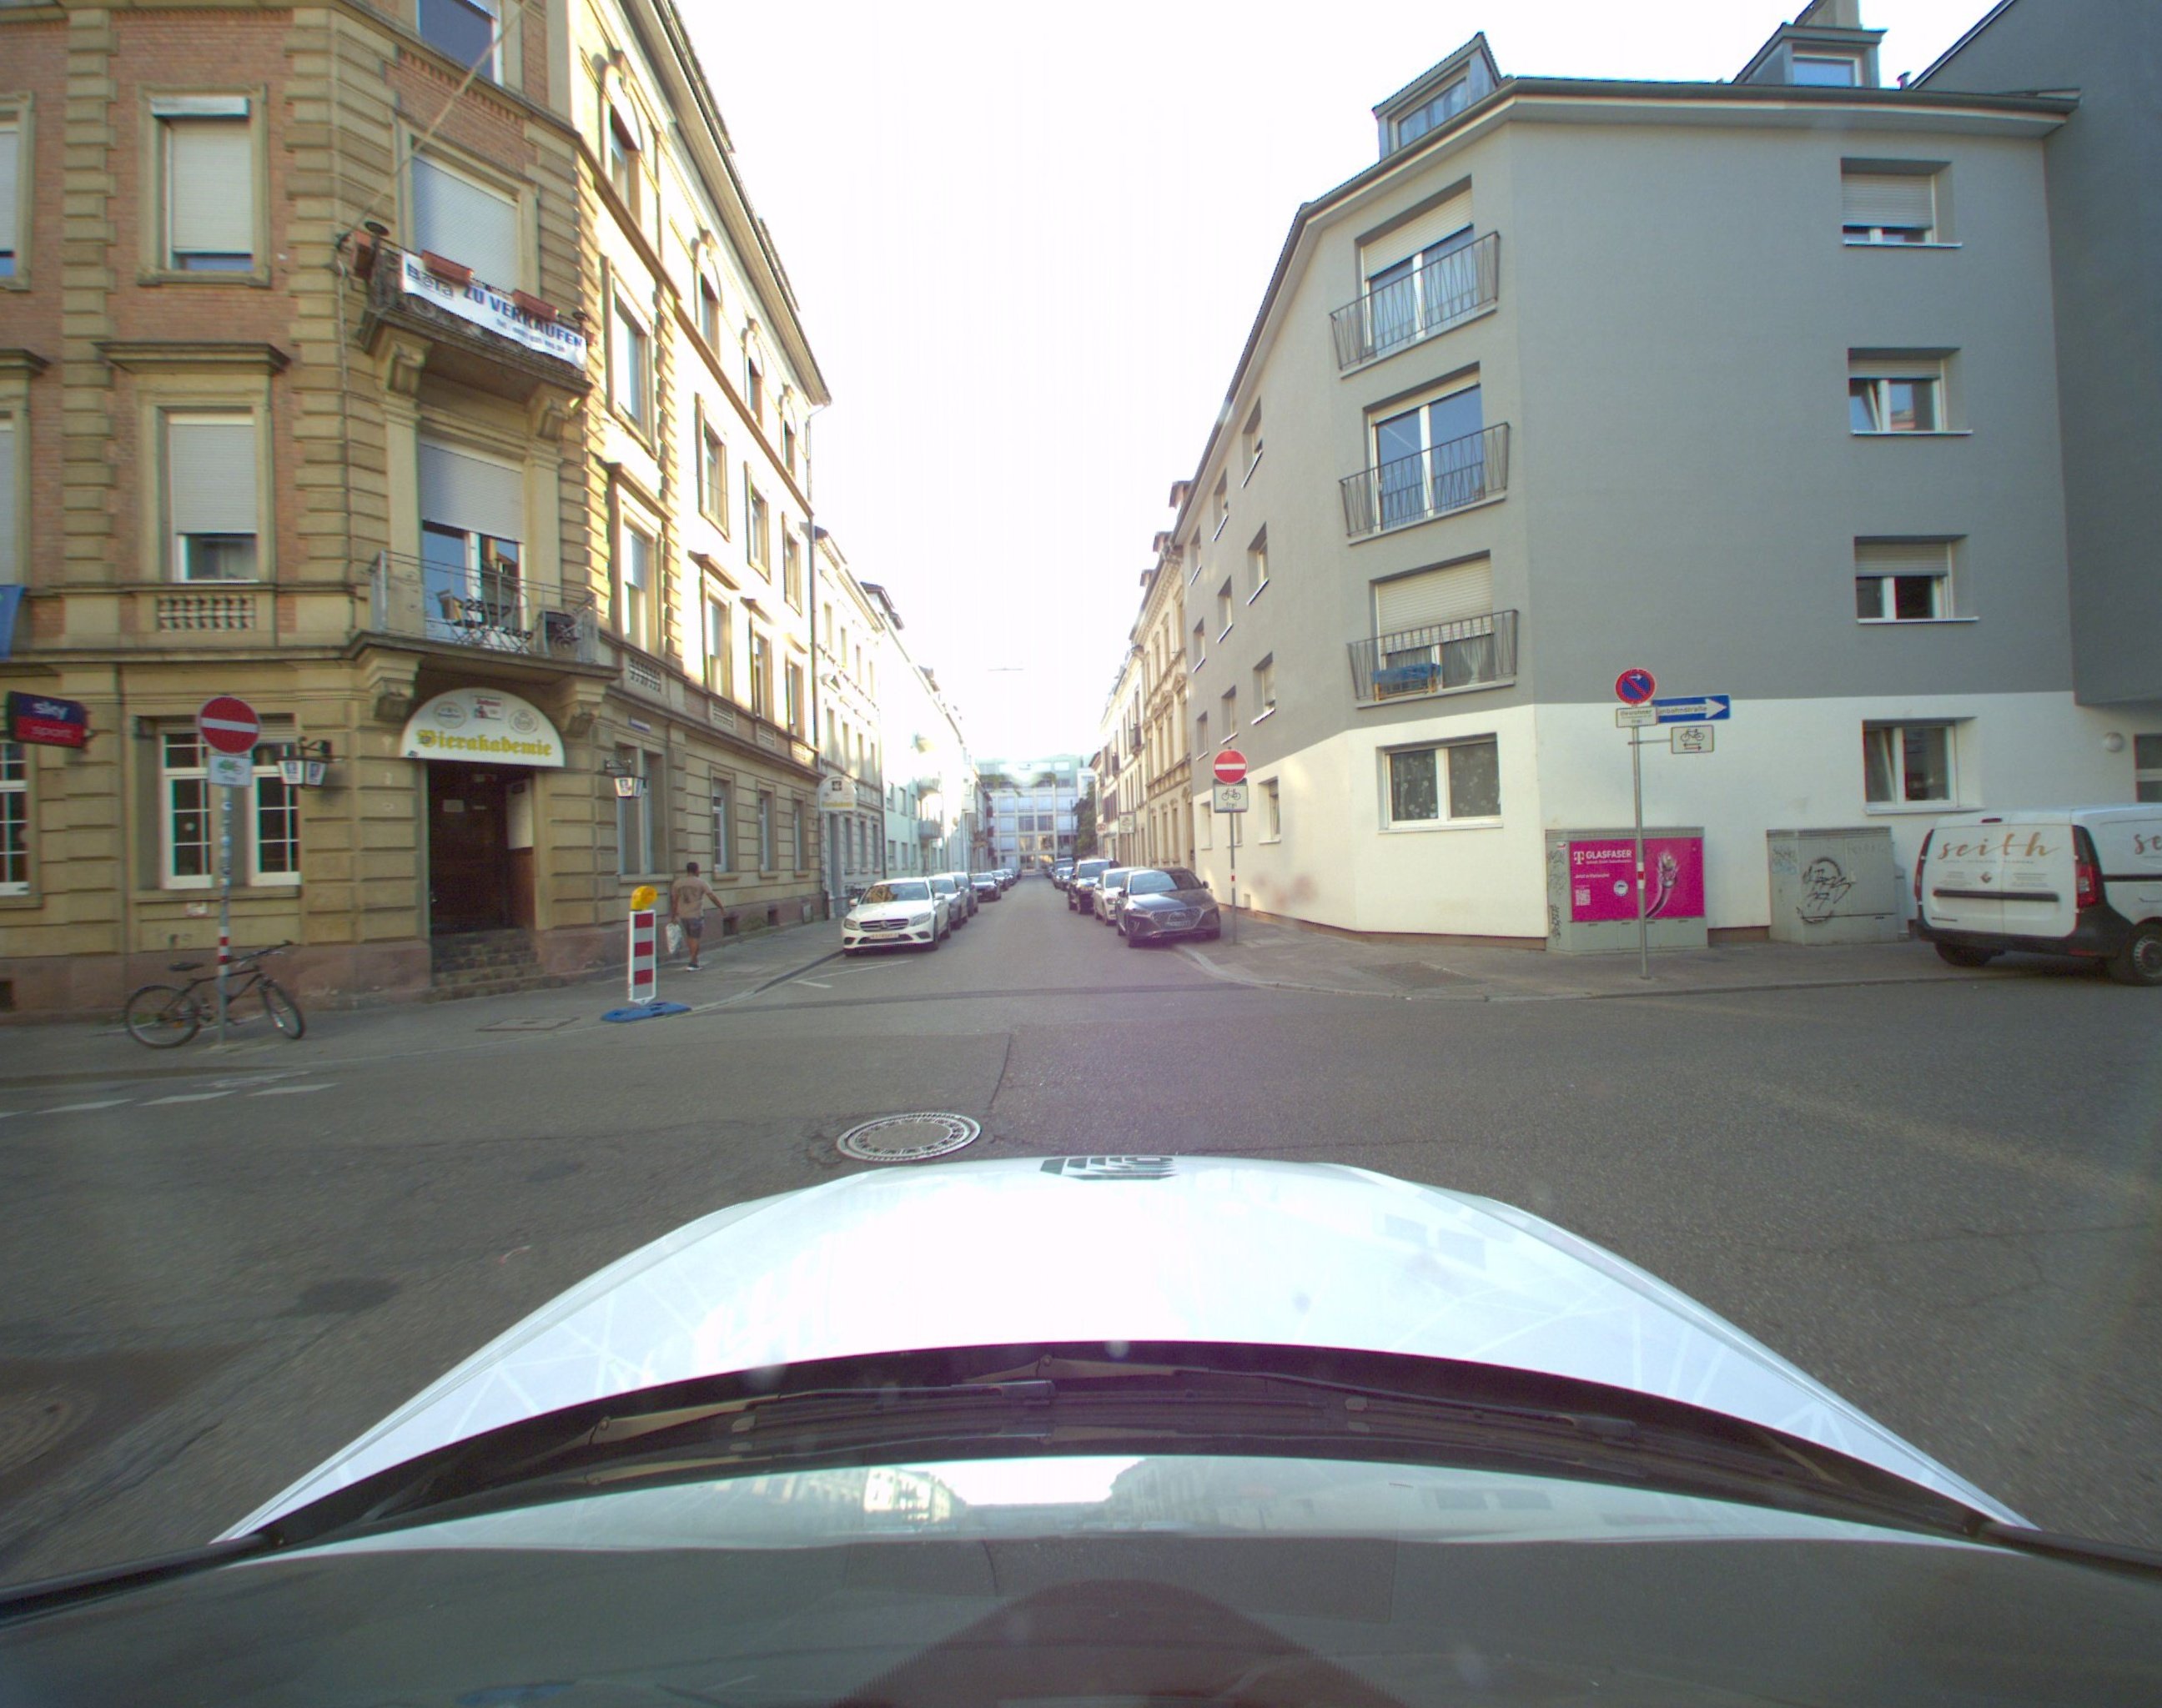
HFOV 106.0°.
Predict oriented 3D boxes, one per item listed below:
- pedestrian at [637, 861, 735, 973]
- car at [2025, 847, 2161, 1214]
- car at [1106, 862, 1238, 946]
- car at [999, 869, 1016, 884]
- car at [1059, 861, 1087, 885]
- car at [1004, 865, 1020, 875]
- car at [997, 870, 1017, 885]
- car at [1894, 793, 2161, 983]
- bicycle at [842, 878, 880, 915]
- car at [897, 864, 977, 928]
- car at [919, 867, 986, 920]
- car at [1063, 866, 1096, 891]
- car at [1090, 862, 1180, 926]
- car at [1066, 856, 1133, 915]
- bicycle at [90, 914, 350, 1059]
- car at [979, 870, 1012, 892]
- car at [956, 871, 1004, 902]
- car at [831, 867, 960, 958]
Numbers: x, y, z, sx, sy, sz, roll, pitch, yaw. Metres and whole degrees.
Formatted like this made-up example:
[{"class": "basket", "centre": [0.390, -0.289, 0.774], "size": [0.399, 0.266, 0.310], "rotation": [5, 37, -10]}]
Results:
[{"class": "pedestrian", "centre": [-6.434, 1.003, 13.304], "size": [0.974, 1.742, 1.020], "rotation": [-2, -1, 14]}, {"class": "car", "centre": [6.513, 0.599, 2.655], "size": [4.699, 1.408, 1.890], "rotation": [-2, -1, -1]}, {"class": "car", "centre": [1.706, 0.924, 16.568], "size": [1.935, 1.372, 3.783], "rotation": [-4, 0, -4]}, {"class": "car", "centre": [-7.310, 2.244, 81.018], "size": [1.583, 1.410, 3.383], "rotation": [-2, -1, -6]}, {"class": "car", "centre": [-0.655, 1.457, 63.761], "size": [1.989, 1.700, 3.994], "rotation": [-2, -1, -4]}, {"class": "car", "centre": [-9.426, 2.193, 111.264], "size": [1.990, 1.309, 3.875], "rotation": [-2, -1, -5]}, {"class": "car", "centre": [-6.824, 2.127, 74.922], "size": [1.704, 1.302, 3.994], "rotation": [-2, -1, -4]}, {"class": "car", "centre": [11.667, 0.274, 8.863], "size": [4.163, 1.814, 1.634], "rotation": [-2, -1, -4]}, {"class": "bicycle", "centre": [-7.663, 1.472, 28.440], "size": [0.736, 1.160, 2.458], "rotation": [-2, -1, -3]}, {"class": "car", "centre": [-3.965, 1.118, 22.944], "size": [1.620, 1.577, 3.751], "rotation": [-2, -1, -2]}, {"class": "car", "centre": [-4.433, 1.314, 28.656], "size": [1.781, 1.659, 3.813], "rotation": [-2, -1, -2]}, {"class": "car", "centre": [-0.127, 1.582, 53.096], "size": [1.988, 1.451, 3.996], "rotation": [-2, -1, -2]}, {"class": "car", "centre": [1.403, 1.034, 22.623], "size": [1.959, 1.557, 3.883], "rotation": [-2, -1, -4]}, {"class": "car", "centre": [0.567, 1.029, 27.993], "size": [1.890, 1.784, 3.994], "rotation": [-2, -1, -4]}, {"class": "bicycle", "centre": [-8.825, 1.329, 8.418], "size": [1.756, 1.275, 0.659], "rotation": [-2, 3, -7]}, {"class": "car", "centre": [-6.034, 1.881, 57.860], "size": [2.170, 1.418, 3.992], "rotation": [-2, -1, -5]}, {"class": "car", "centre": [-4.912, 1.565, 40.208], "size": [1.989, 1.355, 4.423], "rotation": [-2, -1, -4]}, {"class": "car", "centre": [-3.806, 1.126, 17.508], "size": [1.990, 1.564, 4.498], "rotation": [-3, 0, -5]}]
